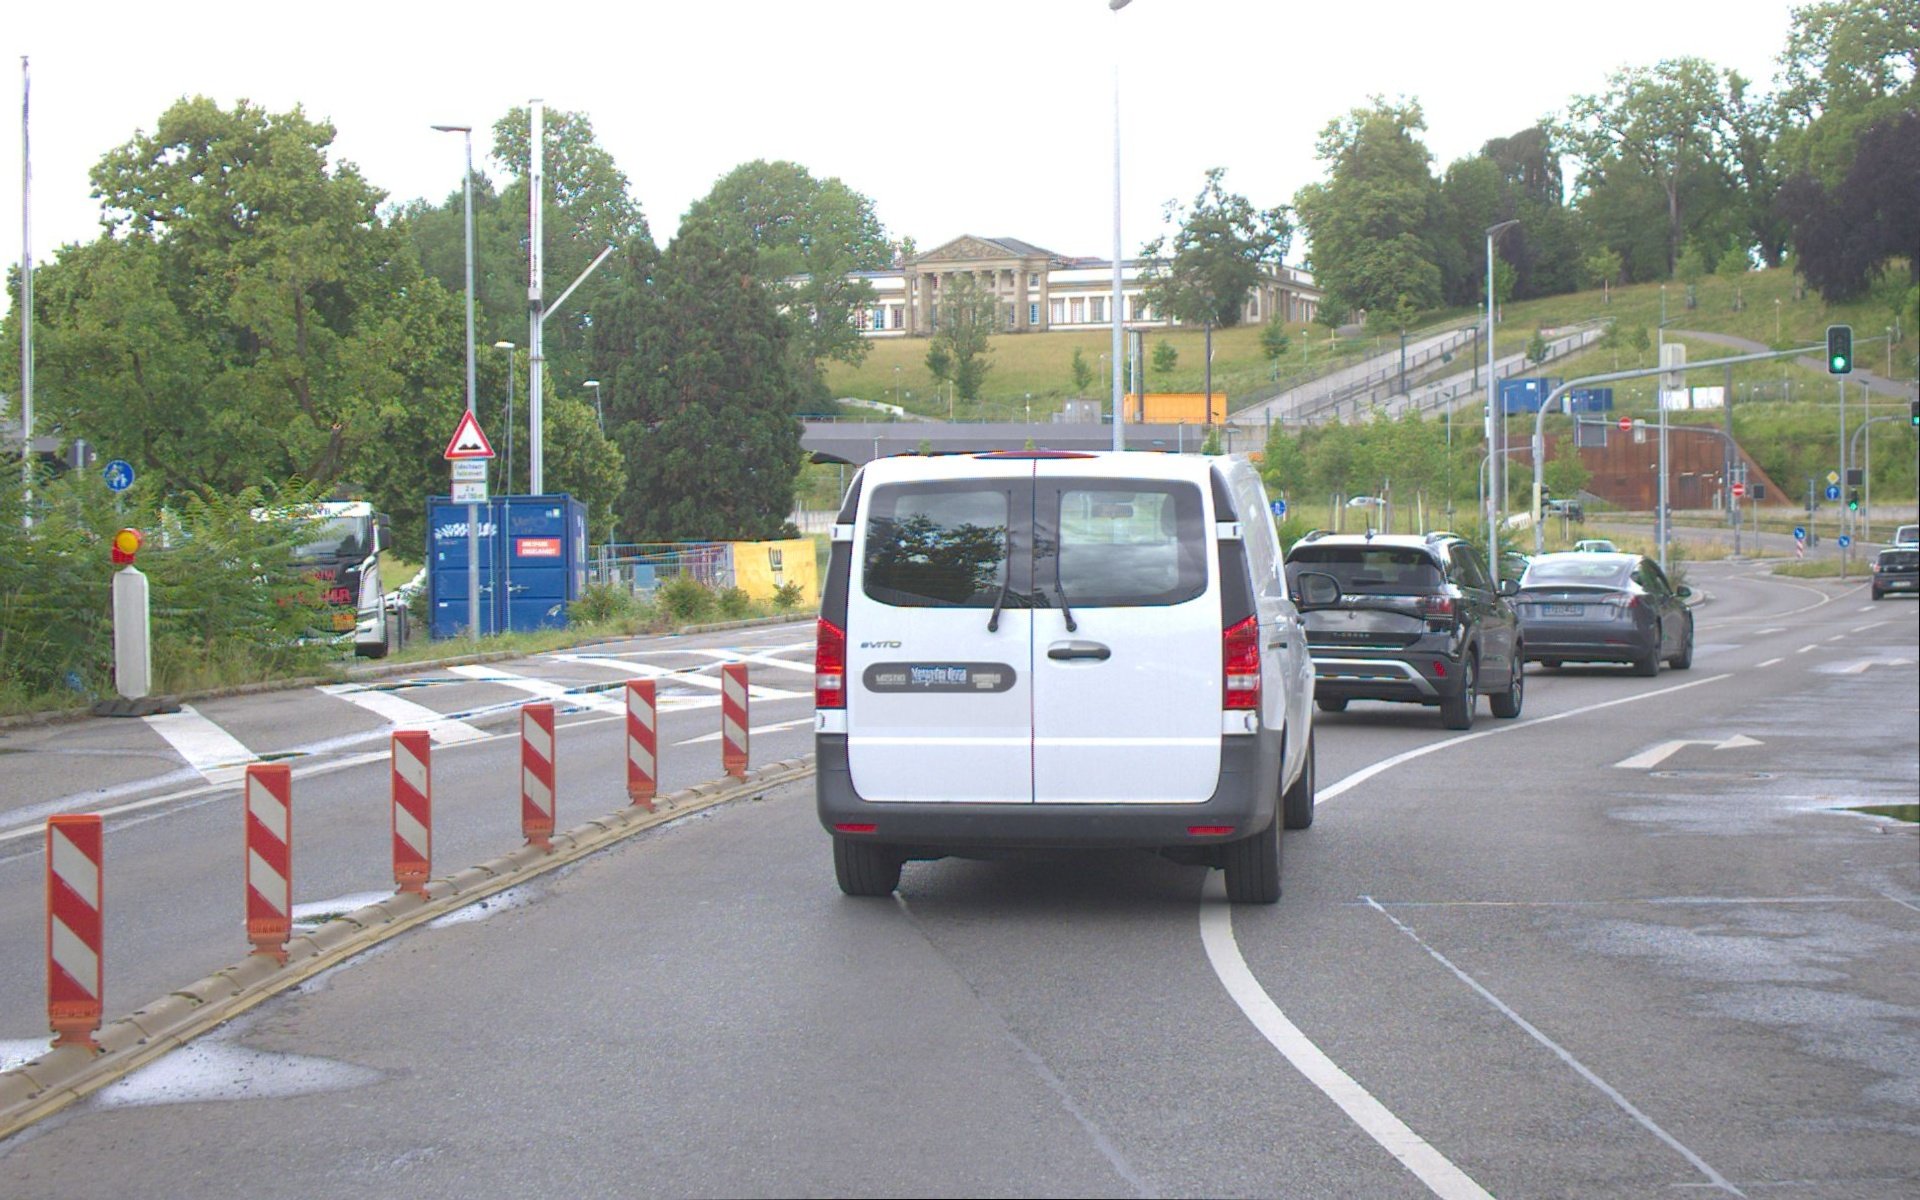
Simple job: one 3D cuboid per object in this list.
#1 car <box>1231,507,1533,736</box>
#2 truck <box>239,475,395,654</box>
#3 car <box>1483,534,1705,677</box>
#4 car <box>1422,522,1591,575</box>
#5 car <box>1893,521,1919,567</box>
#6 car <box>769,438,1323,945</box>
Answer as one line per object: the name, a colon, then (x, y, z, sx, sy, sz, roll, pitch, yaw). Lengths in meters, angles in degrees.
car: (3.571, 0.126, 28.471, 1.840, 1.723, 4.059, 2, 1, 16)
truck: (-12.962, -0.772, 69.828, 2.792, 3.324, 8.481, -2, 2, -9)
car: (7.565, 0.028, 40.760, 1.840, 1.577, 4.058, 2, 1, 21)
car: (16.813, -1.586, 105.886, 4.716, 1.472, 1.997, -1, 2, 29)
car: (37.826, -2.201, 135.723, 1.753, 1.766, 3.997, 2, 1, 14)
car: (0.552, 0.301, 15.443, 1.960, 1.897, 4.460, 1, 1, 8)
